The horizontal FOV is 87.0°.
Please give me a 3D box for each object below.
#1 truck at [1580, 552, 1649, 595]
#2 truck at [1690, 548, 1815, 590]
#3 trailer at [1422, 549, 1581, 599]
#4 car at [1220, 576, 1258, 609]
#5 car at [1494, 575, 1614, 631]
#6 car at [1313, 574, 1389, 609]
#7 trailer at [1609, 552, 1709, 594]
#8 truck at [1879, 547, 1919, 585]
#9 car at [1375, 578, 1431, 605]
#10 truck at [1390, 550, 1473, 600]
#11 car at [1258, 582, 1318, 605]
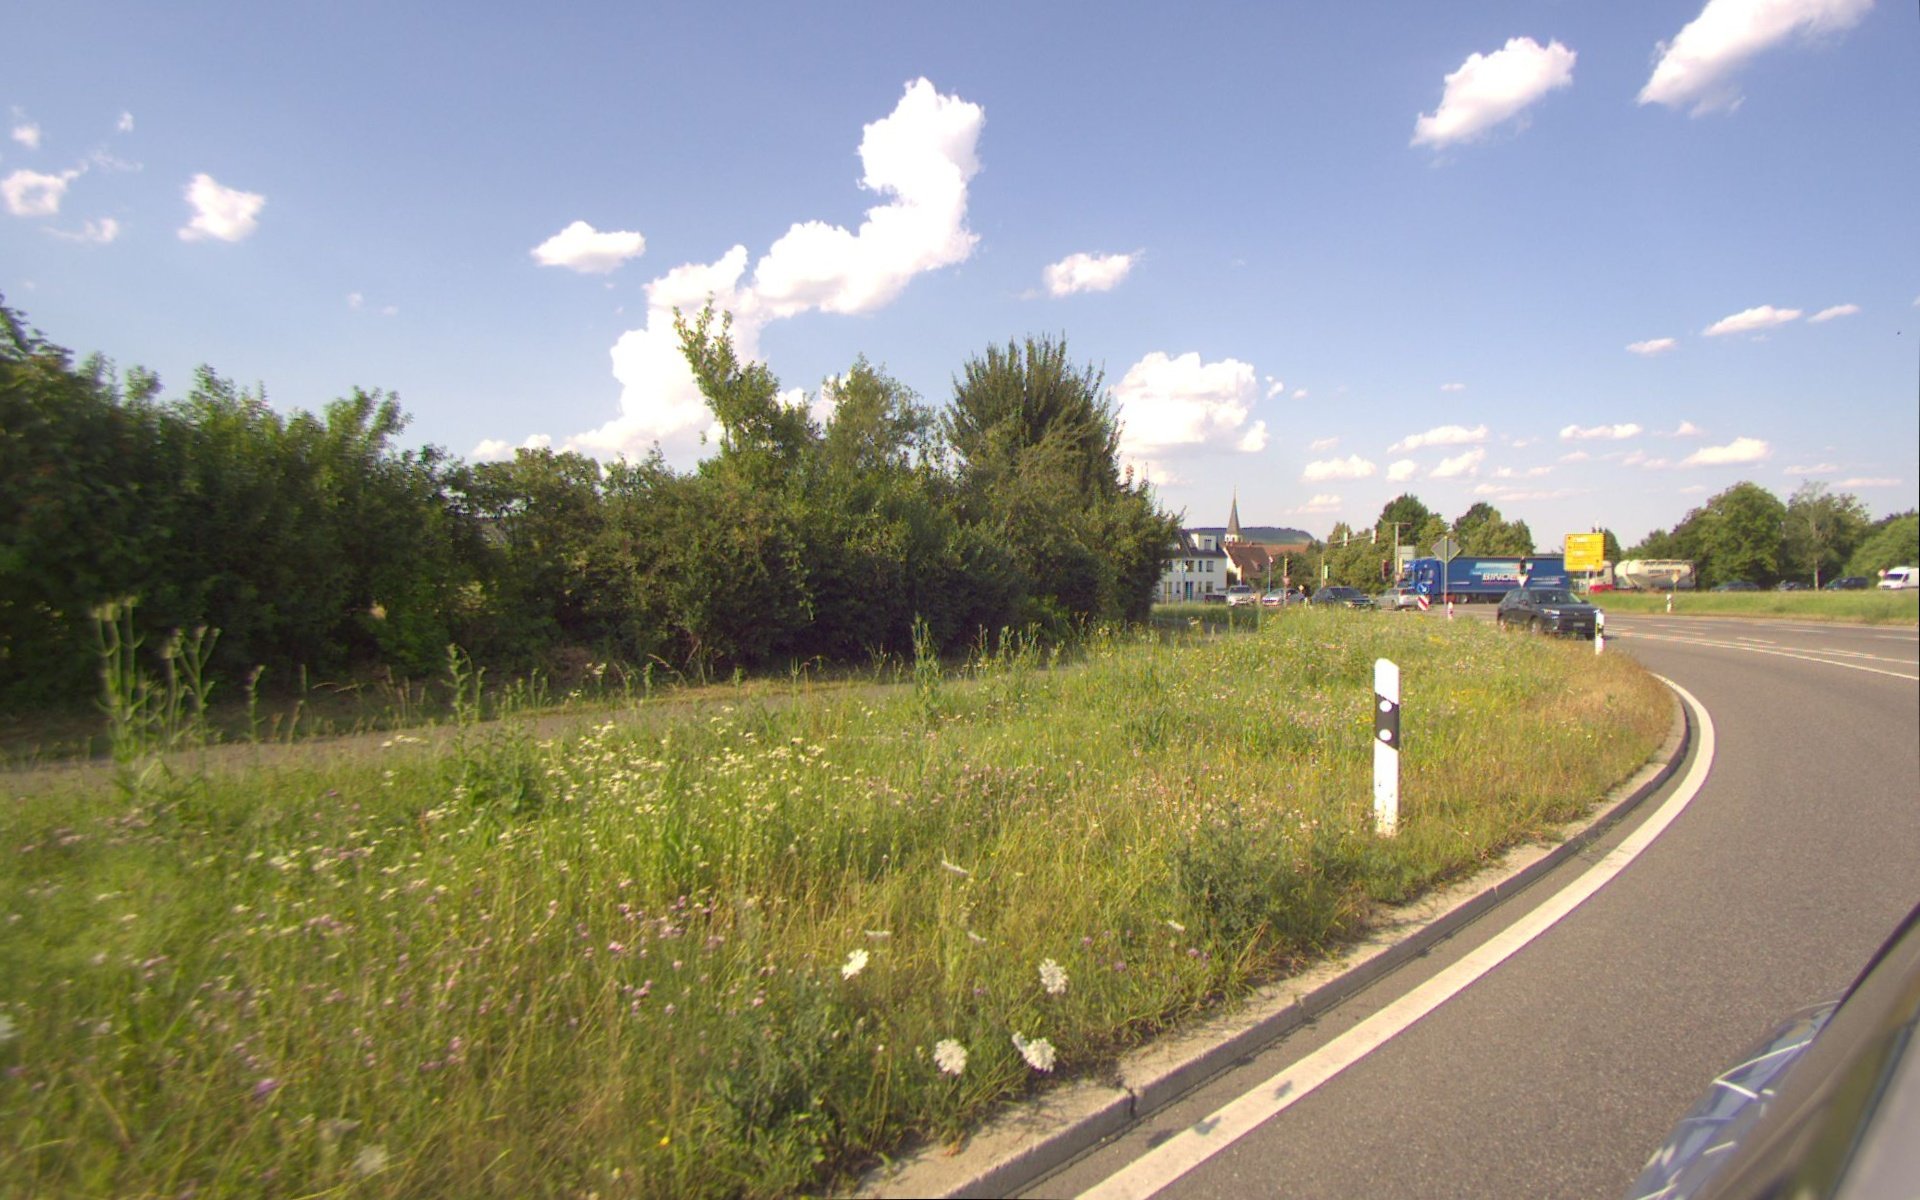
[{"bbox_3d":[61.505,-2.505,95.103,5.566,3.853,2.267,-1,0,-16],"label":"truck"},{"bbox_3d":[78.460,-3.046,100.161,12.628,3.822,2.535,-1,-1,-15],"label":"truck"},{"bbox_3d":[47.033,-2.280,87.908,13.461,4.055,3.426,-1,0,-16],"label":"trailer"},{"bbox_3d":[18.405,-0.531,66.987,1.877,1.972,4.360,-3,0,10],"label":"car"},{"bbox_3d":[19.089,0.086,32.783,1.759,1.650,4.458,-1,0,8],"label":"car"},{"bbox_3d":[19.381,-0.422,50.322,1.741,1.633,4.550,-1,0,-3],"label":"car"},{"bbox_3d":[66.709,-2.611,96.539,9.325,3.826,2.270,-1,-1,-16],"label":"trailer"},{"bbox_3d":[103.011,-3.647,106.644,12.628,3.822,2.535,-1,0,-15],"label":"truck"},{"bbox_3d":[29.384,-0.535,67.255,1.786,1.548,4.351,-1,-2,1],"label":"car"},{"bbox_3d":[40.013,-2.116,85.962,5.484,4.056,3.383,-1,0,-16],"label":"truck"},{"bbox_3d":[25.226,-0.500,77.907,3.917,1.504,2.004,-3,0,-16],"label":"car"}]
